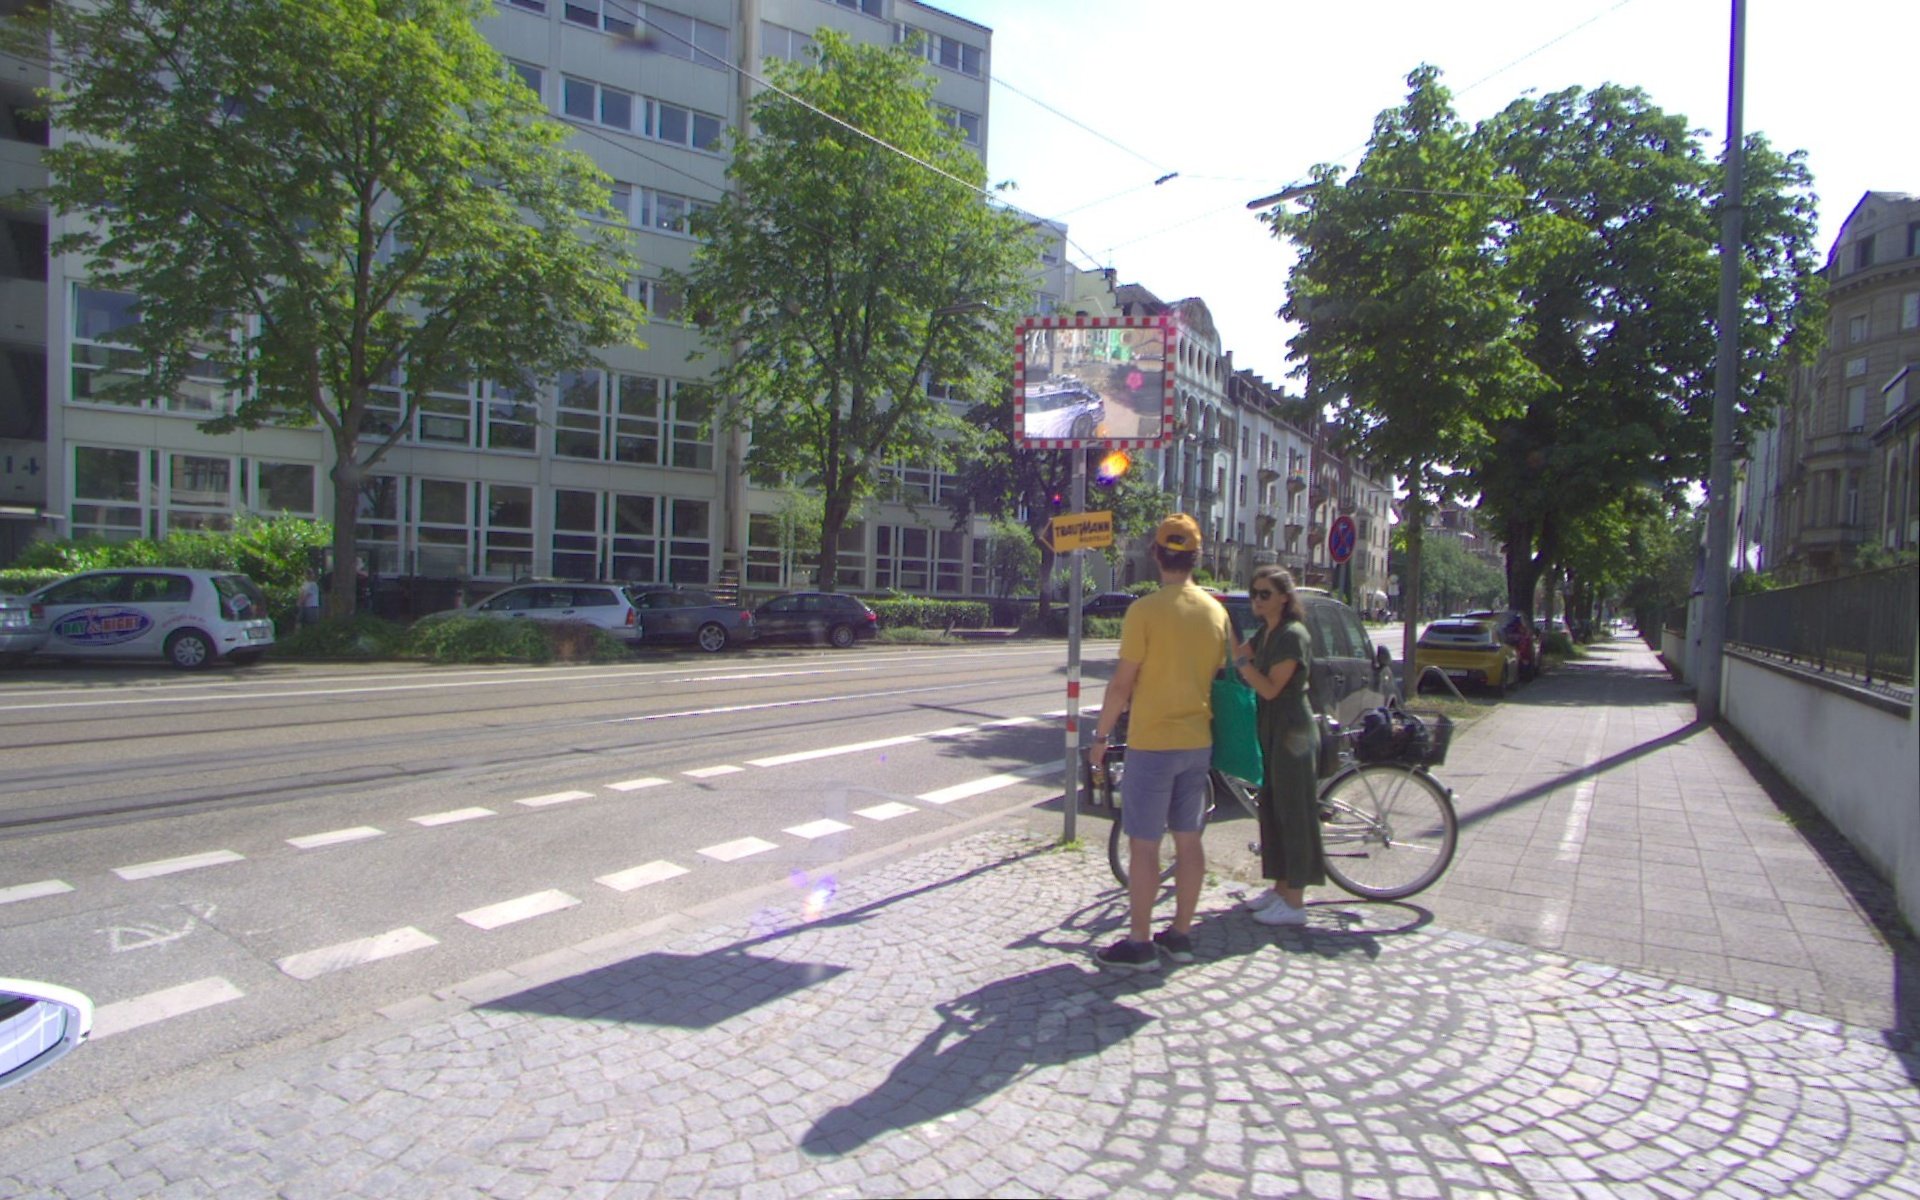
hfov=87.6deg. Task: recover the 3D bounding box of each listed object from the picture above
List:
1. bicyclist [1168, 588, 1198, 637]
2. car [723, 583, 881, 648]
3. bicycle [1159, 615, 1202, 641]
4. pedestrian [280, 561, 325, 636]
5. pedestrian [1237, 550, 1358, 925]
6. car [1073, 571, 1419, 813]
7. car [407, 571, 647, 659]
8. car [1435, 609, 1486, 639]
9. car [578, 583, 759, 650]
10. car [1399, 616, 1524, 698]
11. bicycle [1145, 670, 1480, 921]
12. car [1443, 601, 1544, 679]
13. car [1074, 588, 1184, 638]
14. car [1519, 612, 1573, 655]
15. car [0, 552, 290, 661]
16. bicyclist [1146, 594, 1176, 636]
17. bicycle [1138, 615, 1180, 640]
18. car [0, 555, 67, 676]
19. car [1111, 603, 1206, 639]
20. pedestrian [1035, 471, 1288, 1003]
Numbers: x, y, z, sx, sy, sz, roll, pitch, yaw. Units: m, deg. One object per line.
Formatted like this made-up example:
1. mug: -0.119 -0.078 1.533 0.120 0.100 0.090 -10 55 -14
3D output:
1. bicyclist: 8.503 0.467 38.201 0.794 1.825 0.858 3 2 37
2. car: -4.086 0.395 25.911 3.872 1.506 1.556 2 1 -12
3. bicycle: 8.440 1.069 38.258 0.671 0.929 2.305 3 1 37
4. pedestrian: -13.162 -0.028 20.059 0.418 1.480 0.619 3 1 31
5. pedestrian: 1.556 0.606 4.662 0.445 1.643 0.421 2 2 16
6. car: 2.839 0.673 9.290 1.832 1.706 3.975 2 0 35
7. car: -8.722 0.314 20.526 4.266 1.625 1.556 2 0 -14
8. car: 26.861 1.284 53.638 1.865 1.427 4.568 4 1 33
9. car: -6.634 0.381 23.139 3.872 1.375 1.556 2 1 -12
10. car: 10.262 1.077 20.356 1.830 1.430 3.979 2 0 33
11. bicycle: 1.707 0.928 4.990 1.485 1.055 0.363 2 1 17
12. car: 13.182 0.936 24.638 1.830 1.702 3.979 2 0 33
13. car: 6.935 0.512 41.220 3.931 1.885 1.995 2 1 -18
14. car: 25.709 1.429 43.873 1.830 1.702 3.979 2 0 33
15. car: -12.529 0.086 14.933 3.871 1.506 1.611 1 1 -10
16. bicyclist: 7.787 0.584 38.826 0.794 1.563 0.858 3 2 37
17. bicycle: 7.730 1.054 38.817 0.671 0.929 2.305 3 1 37
18. car: -13.888 0.121 12.444 3.871 1.506 1.611 2 1 -9
19. car: 9.428 1.002 47.699 3.926 1.528 1.998 2 0 -12
20. pedestrian: 0.850 0.479 4.080 0.839 1.890 0.828 2 1 20
